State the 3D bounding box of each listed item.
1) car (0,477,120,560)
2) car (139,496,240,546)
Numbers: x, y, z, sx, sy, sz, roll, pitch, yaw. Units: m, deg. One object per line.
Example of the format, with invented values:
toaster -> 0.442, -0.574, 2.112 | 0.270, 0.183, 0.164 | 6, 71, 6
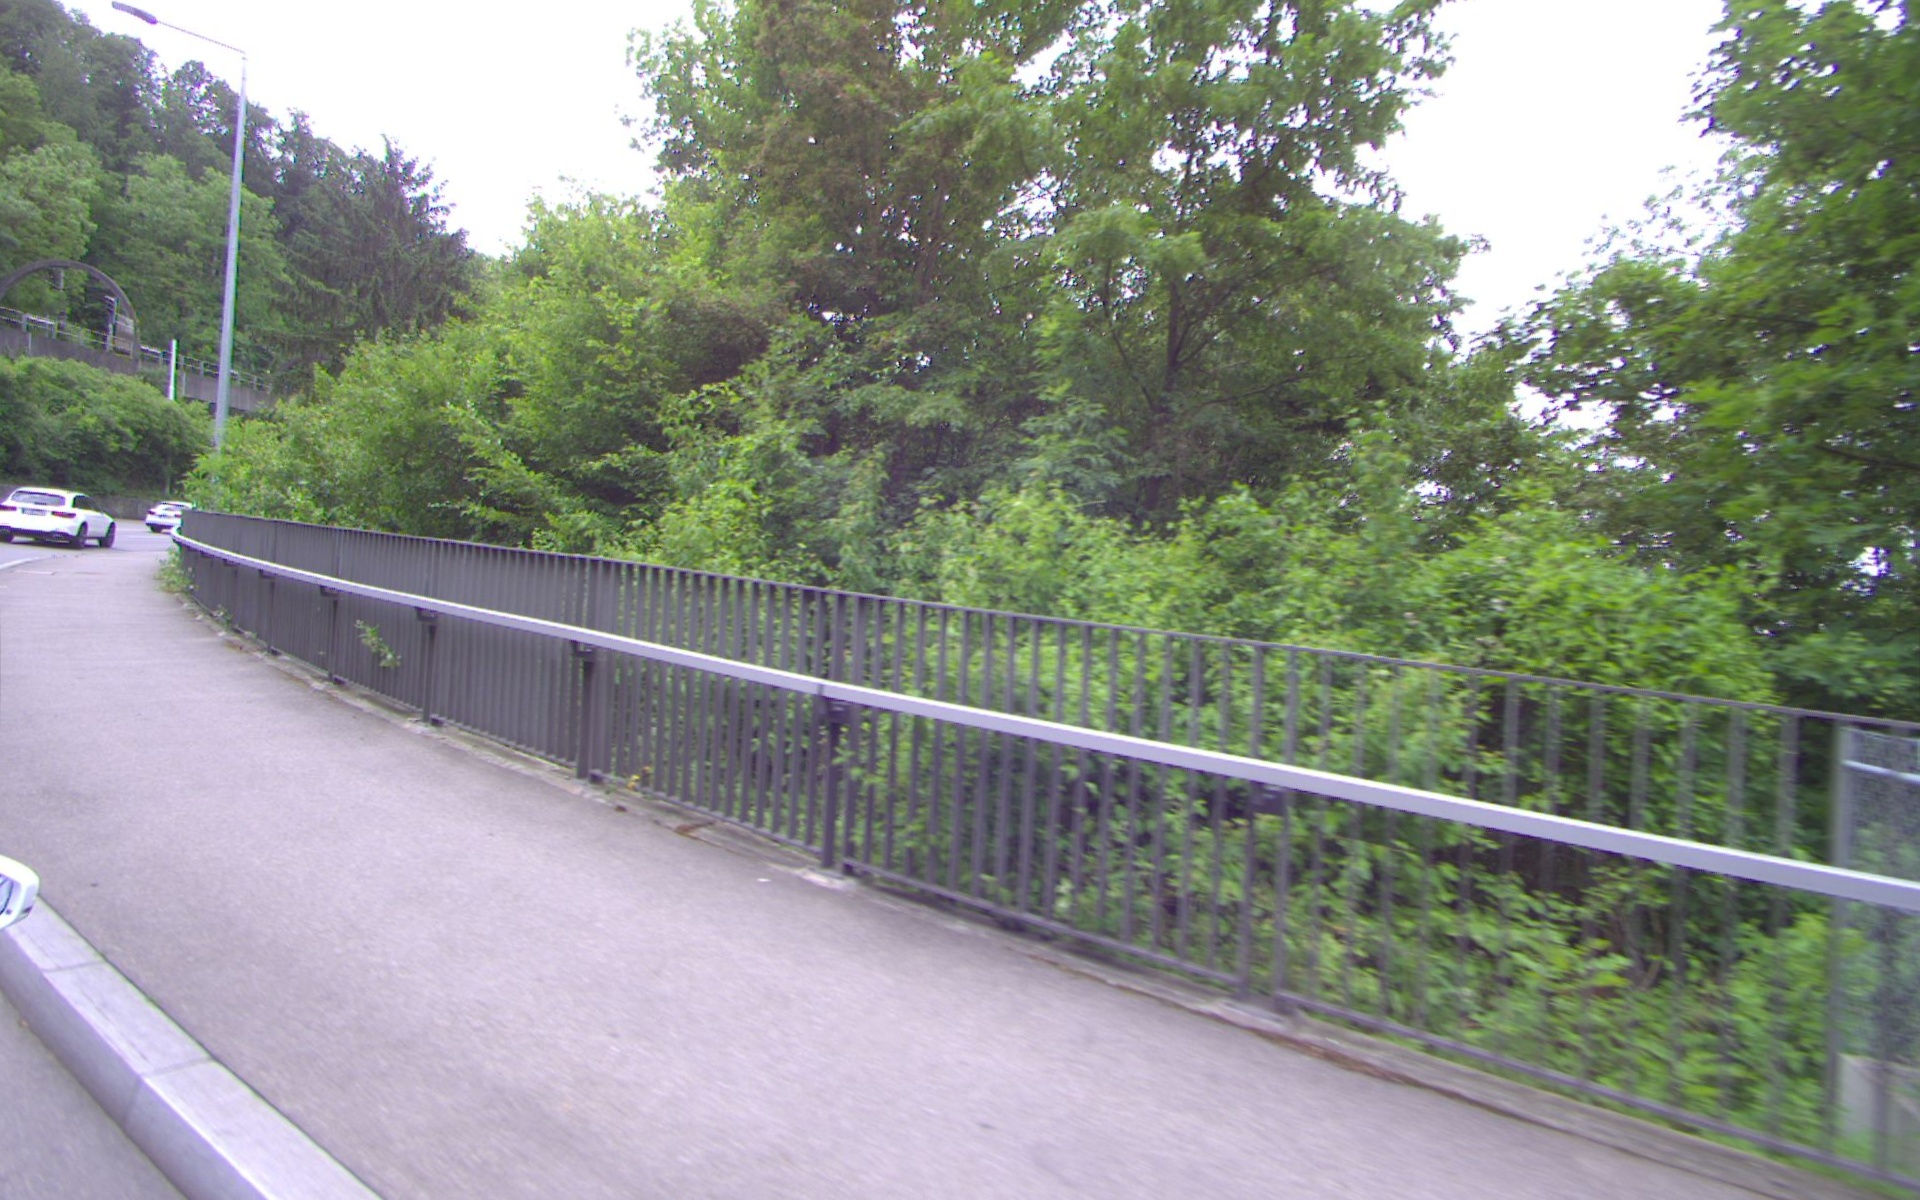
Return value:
car -> -26.998, -2.355, 30.007 | 1.978, 1.863, 4.125 | 9, -4, -28
car -> -35.475, -3.591, 46.479 | 1.717, 1.535, 4.308 | 7, -4, -9
